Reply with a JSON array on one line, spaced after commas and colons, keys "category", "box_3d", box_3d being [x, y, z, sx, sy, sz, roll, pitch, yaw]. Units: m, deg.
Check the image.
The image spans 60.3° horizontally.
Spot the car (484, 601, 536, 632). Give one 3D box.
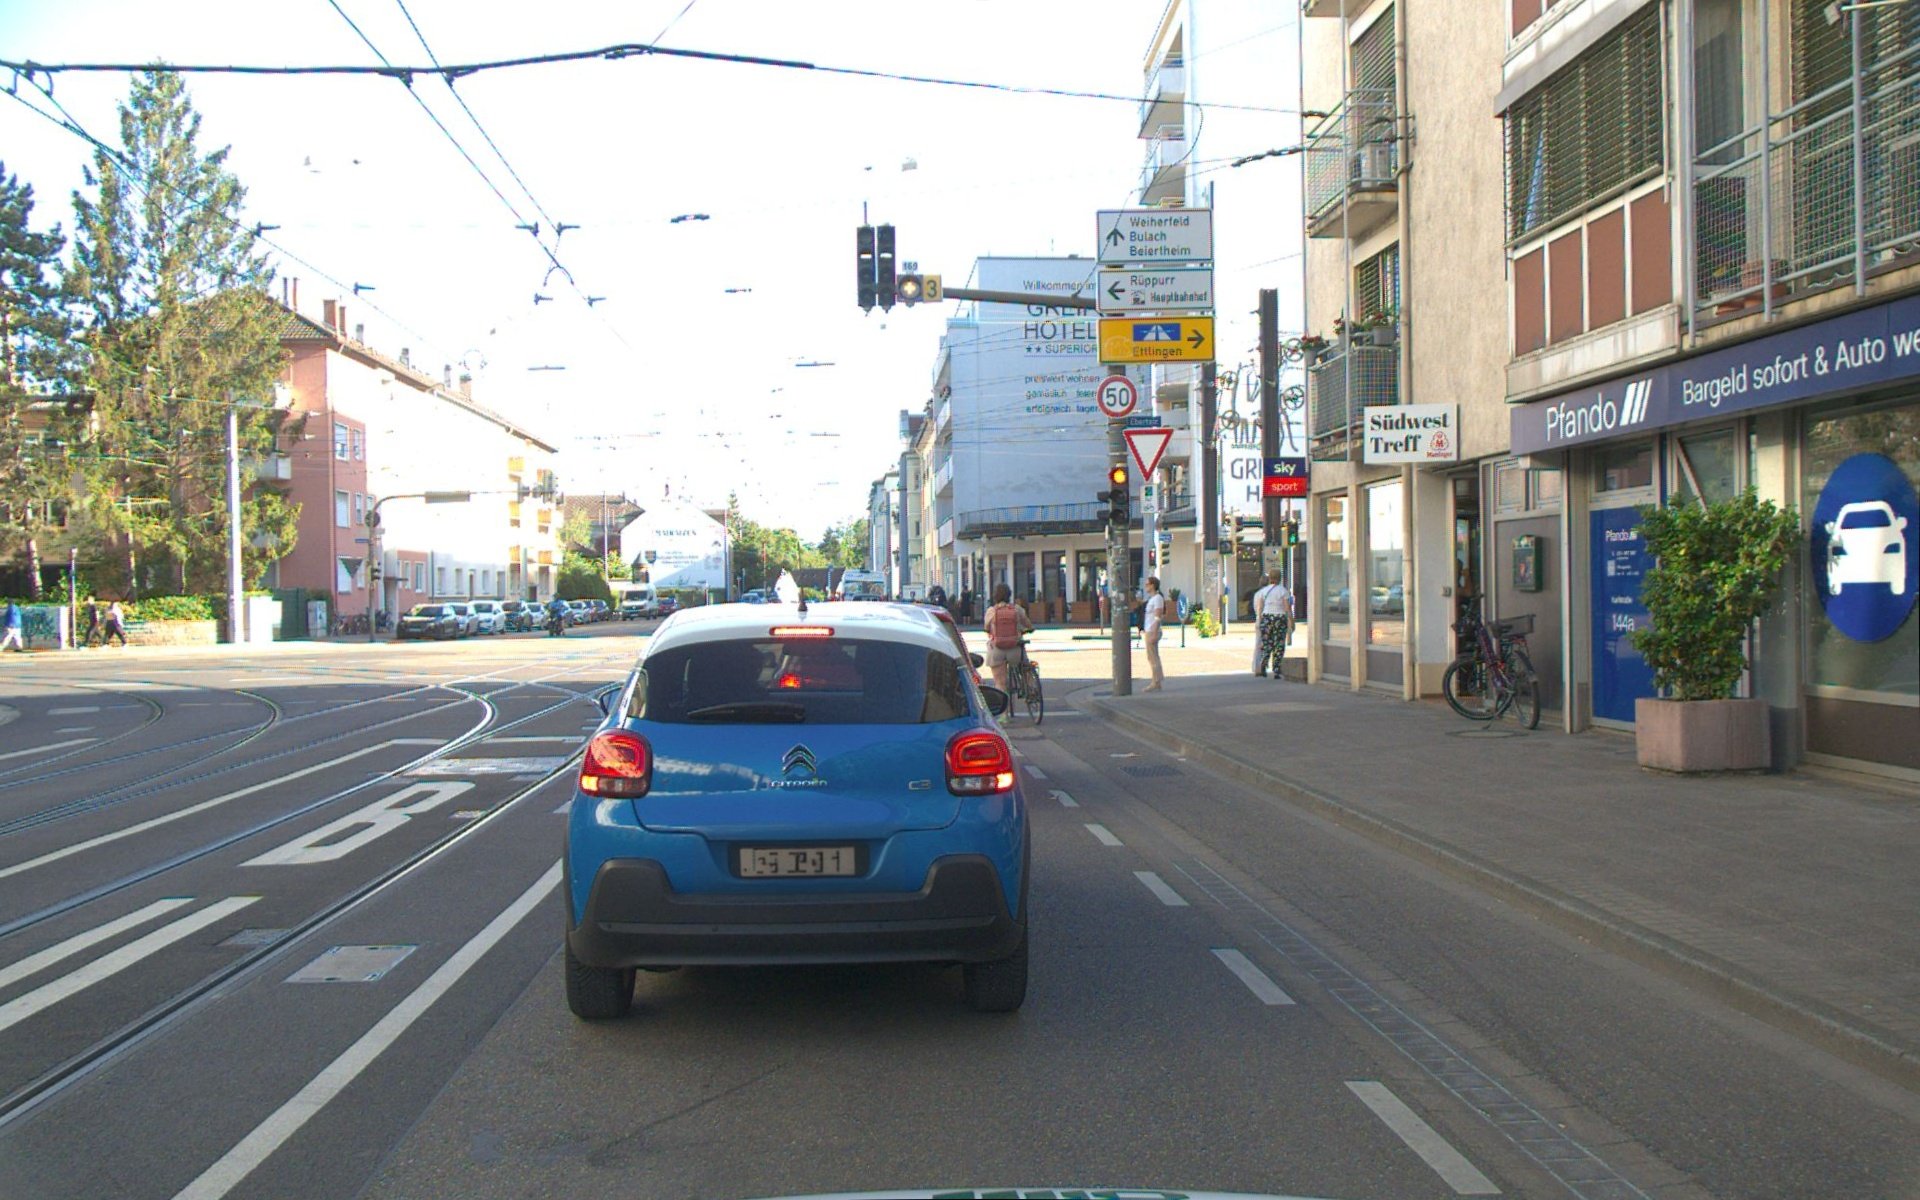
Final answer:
[{"category": "car", "box_3d": [-23.237, 0.834, 85.527, 1.913, 1.545, 3.995, -1, 0, -6]}]

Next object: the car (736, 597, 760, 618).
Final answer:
[{"category": "car", "box_3d": [-21.823, 0.791, 170.501, 2.293, 2.074, 5.044, -1, 0, -6]}]

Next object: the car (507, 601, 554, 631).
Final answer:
[{"category": "car", "box_3d": [-23.767, 0.849, 91.576, 1.913, 1.545, 3.995, -1, 0, -6]}]

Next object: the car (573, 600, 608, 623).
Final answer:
[{"category": "car", "box_3d": [-25.573, 0.780, 114.602, 1.913, 1.545, 3.995, -1, 0, -6]}]

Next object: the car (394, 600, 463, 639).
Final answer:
[{"category": "car", "box_3d": [-22.016, 0.787, 68.660, 1.913, 1.545, 3.995, -1, 0, -6]}]

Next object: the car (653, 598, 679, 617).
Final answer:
[{"category": "car", "box_3d": [-25.584, 0.631, 144.174, 1.913, 1.545, 3.995, -1, 0, -6]}]

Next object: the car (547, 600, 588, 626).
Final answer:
[{"category": "car", "box_3d": [-24.413, 0.800, 102.998, 1.913, 1.545, 3.995, -1, 0, -6]}]

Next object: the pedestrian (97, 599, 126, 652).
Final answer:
[{"category": "pedestrian", "box_3d": [-28.218, 0.827, 55.008, 0.798, 1.732, 0.602, -1, 0, -25]}]

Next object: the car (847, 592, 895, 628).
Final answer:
[{"category": "car", "box_3d": [-3.678, 0.376, 67.750, 1.752, 1.383, 3.909, -1, 0, -6]}]

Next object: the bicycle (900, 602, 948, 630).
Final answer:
[{"category": "bicycle", "box_3d": [-1.447, 0.657, 67.095, 1.868, 1.083, 0.641, -1, 0, -8]}]

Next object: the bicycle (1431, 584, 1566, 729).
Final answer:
[{"category": "bicycle", "box_3d": [5.117, 0.502, 15.831, 0.627, 1.286, 1.910, -1, 0, -1]}]

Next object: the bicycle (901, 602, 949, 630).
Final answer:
[{"category": "bicycle", "box_3d": [-1.395, 0.632, 65.791, 1.868, 1.083, 0.641, -1, 0, -8]}]

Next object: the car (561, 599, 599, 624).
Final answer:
[{"category": "car", "box_3d": [-24.856, 0.741, 108.271, 1.913, 1.545, 3.995, -1, 0, -6]}]

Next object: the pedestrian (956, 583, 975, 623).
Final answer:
[{"category": "pedestrian", "box_3d": [0.227, 0.138, 70.141, 0.551, 1.676, 0.529, -1, 0, -45]}]

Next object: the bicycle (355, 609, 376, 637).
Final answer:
[{"category": "bicycle", "box_3d": [-24.231, 0.933, 67.424, 0.527, 1.101, 1.905, -1, 0, -11]}]

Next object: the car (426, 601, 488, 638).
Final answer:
[{"category": "car", "box_3d": [-22.556, 0.872, 74.265, 1.913, 1.545, 4.040, -1, 0, -6]}]

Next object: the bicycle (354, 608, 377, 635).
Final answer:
[{"category": "bicycle", "box_3d": [-25.876, 0.924, 71.995, 0.527, 1.101, 1.908, -1, 0, -7]}]

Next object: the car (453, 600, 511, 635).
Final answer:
[{"category": "car", "box_3d": [-22.758, 0.815, 78.870, 1.913, 1.545, 3.995, -1, 0, -6]}]

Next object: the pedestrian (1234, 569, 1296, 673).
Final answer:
[{"category": "pedestrian", "box_3d": [5.040, 0.342, 27.341, 0.694, 1.676, 0.730, -1, 0, -36]}]

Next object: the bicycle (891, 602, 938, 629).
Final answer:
[{"category": "bicycle", "box_3d": [-1.862, 0.634, 68.282, 1.868, 1.083, 0.641, -1, 0, -8]}]

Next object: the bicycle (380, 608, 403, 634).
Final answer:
[{"category": "bicycle", "box_3d": [-25.674, 0.937, 74.701, 0.597, 1.101, 1.908, -1, 0, -7]}]

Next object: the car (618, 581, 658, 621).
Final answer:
[{"category": "car", "box_3d": [-23.230, 0.058, 119.586, 2.446, 2.759, 5.828, -1, 0, -7]}]

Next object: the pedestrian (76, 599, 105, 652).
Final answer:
[{"category": "pedestrian", "box_3d": [-29.084, 0.855, 55.338, 0.798, 1.732, 0.629, -1, 0, -25]}]

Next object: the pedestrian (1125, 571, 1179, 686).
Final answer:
[{"category": "pedestrian", "box_3d": [2.828, 0.409, 24.419, 0.735, 1.663, 0.740, -1, 0, 5]}]

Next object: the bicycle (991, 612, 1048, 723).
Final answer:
[{"category": "bicycle", "box_3d": [0.724, 0.812, 20.648, 0.601, 1.286, 1.910, -1, 0, -1]}]

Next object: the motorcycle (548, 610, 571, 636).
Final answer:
[{"category": "motorcycle", "box_3d": [-16.227, 0.935, 67.030, 0.738, 0.993, 2.092, -1, 0, -9]}]

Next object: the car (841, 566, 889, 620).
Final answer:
[{"category": "car", "box_3d": [-4.233, -0.326, 73.189, 2.039, 2.309, 5.646, 0, 0, -4]}]

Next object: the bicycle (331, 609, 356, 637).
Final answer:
[{"category": "bicycle", "box_3d": [-24.983, 0.915, 67.000, 0.628, 1.101, 1.905, -1, 0, -11]}]

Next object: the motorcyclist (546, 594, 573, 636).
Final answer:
[{"category": "motorcyclist", "box_3d": [-16.207, 0.602, 66.962, 0.973, 1.659, 0.737, -1, 0, -10]}]

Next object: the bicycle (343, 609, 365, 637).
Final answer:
[{"category": "bicycle", "box_3d": [-24.590, 0.925, 67.125, 0.527, 1.101, 1.905, -1, 0, -11]}]

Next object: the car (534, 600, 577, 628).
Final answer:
[{"category": "car", "box_3d": [-23.939, 0.816, 98.001, 1.913, 1.545, 3.995, -1, 0, -6]}]

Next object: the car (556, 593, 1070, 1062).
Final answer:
[{"category": "car", "box_3d": [-0.608, 0.731, 7.361, 1.647, 1.488, 3.997, 1, 0, -4]}]

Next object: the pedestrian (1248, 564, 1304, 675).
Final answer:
[{"category": "pedestrian", "box_3d": [4.869, 0.296, 25.459, 0.722, 1.676, 0.754, -1, 0, 18]}]

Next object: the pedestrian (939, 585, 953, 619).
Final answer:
[{"category": "pedestrian", "box_3d": [-0.587, 0.076, 70.004, 0.459, 1.445, 0.525, -1, 0, -13]}]

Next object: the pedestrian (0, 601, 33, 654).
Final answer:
[{"category": "pedestrian", "box_3d": [-31.392, 0.908, 55.008, 0.795, 1.732, 0.677, -1, 0, -17]}]

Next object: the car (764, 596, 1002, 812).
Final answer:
[{"category": "car", "box_3d": [-0.675, 0.726, 13.570, 1.647, 1.488, 3.997, 1, 0, -4]}]

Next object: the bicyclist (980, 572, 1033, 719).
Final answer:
[{"category": "bicyclist", "box_3d": [0.571, 0.550, 20.607, 0.588, 1.776, 1.084, -1, 0, -1]}]

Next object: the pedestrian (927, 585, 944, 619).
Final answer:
[{"category": "pedestrian", "box_3d": [-1.033, 0.082, 70.188, 0.514, 1.445, 0.547, -1, 0, 19]}]
